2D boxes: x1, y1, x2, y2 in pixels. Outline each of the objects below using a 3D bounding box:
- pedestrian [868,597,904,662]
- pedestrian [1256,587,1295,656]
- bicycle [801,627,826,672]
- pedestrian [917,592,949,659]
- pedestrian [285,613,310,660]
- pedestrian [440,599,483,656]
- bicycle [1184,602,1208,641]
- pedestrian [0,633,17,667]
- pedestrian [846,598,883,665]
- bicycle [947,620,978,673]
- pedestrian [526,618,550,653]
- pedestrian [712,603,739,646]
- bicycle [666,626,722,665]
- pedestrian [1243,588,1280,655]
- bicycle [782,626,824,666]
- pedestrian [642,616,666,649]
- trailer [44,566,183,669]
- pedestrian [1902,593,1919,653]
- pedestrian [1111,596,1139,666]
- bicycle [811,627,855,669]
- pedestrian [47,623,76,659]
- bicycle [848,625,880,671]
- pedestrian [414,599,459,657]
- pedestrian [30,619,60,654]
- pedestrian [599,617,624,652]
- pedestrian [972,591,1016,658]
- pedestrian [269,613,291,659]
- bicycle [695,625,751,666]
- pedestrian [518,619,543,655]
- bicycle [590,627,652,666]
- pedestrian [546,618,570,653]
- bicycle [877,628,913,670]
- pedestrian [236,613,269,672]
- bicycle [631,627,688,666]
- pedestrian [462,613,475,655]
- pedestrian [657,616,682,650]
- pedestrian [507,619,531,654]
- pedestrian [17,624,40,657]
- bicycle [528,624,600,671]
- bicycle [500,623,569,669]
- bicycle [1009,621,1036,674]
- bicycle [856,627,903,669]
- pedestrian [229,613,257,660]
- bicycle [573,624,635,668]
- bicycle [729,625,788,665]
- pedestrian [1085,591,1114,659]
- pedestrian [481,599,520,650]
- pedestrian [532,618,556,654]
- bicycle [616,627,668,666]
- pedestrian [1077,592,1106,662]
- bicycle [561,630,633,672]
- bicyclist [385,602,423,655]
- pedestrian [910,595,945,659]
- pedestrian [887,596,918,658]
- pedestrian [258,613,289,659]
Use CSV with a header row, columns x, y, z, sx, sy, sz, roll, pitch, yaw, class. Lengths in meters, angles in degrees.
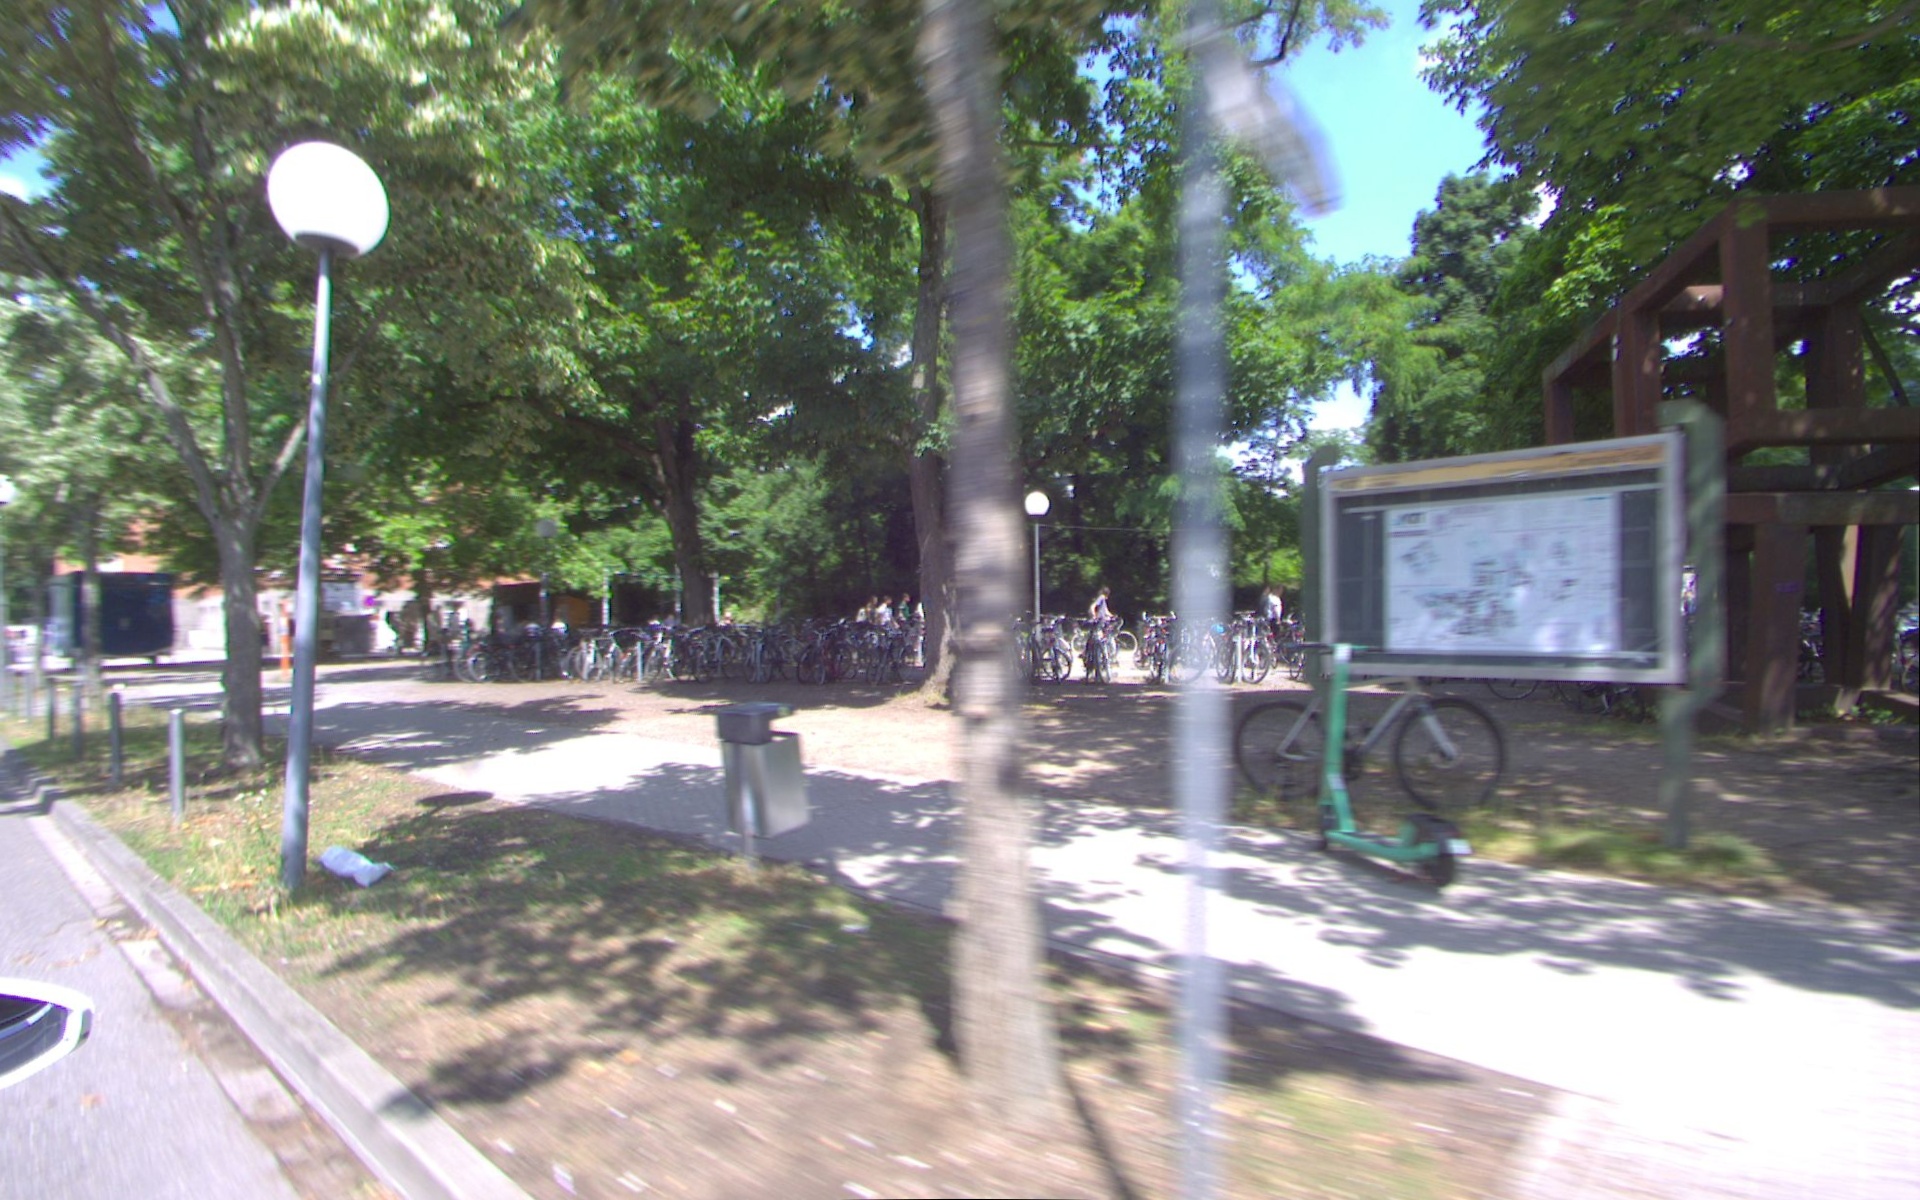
x,y,z,sx,sy,sz,roll,pitch,yaw,class
-2.066,0.812,28.149,0.711,1.798,0.740,0,0,35,pedestrian
8.321,0.567,26.408,0.707,1.798,0.744,0,0,-9,pedestrian
-3.405,1.136,23.387,0.469,0.992,1.903,-1,0,-6,bicycle
-0.732,0.682,27.081,0.707,1.798,0.744,0,0,12,pedestrian
-26.693,1.459,40.355,0.719,1.821,0.592,1,3,39,pedestrian
-17.706,0.959,35.560,1.060,1.975,0.832,-1,1,22,pedestrian
6.949,0.637,29.545,0.469,1.108,1.611,-1,0,5,bicycle
-49.271,2.564,51.490,0.951,1.716,0.699,5,-2,-37,pedestrian
-2.608,0.851,27.338,0.711,1.798,0.740,0,0,35,pedestrian
0.068,1.022,22.443,0.469,1.097,1.903,-1,0,7,bicycle
-17.088,1.430,40.510,0.720,1.365,0.567,0,3,38,pedestrian
-9.007,0.924,38.507,0.710,1.603,0.663,0,3,38,pedestrian
-7.153,1.215,27.015,0.414,0.992,1.899,-1,0,21,bicycle
8.215,0.587,27.300,0.707,1.798,0.744,0,0,-9,pedestrian
-4.112,1.188,26.318,0.526,0.992,1.903,-1,0,9,bicycle
-12.351,1.316,40.443,0.614,1.288,0.663,0,3,38,pedestrian
-28.108,0.593,33.163,6.188,3.092,2.678,-2,0,42,trailer
25.684,0.618,26.687,0.713,1.590,0.738,0,0,-39,pedestrian
4.308,0.800,26.102,0.707,1.798,0.744,0,0,11,pedestrian
-3.201,1.203,25.430,0.469,0.992,1.902,-1,0,12,bicycle
-43.442,1.979,48.413,0.938,1.661,0.870,1,4,43,pedestrian
-2.228,1.099,23.401,0.469,0.992,1.904,-1,0,2,bicycle
-18.081,0.966,34.600,1.060,1.975,0.832,-1,1,22,pedestrian
-49.459,1.971,54.144,0.738,1.814,0.709,-1,6,7,pedestrian
-14.211,1.399,40.810,0.710,1.365,0.663,0,3,38,pedestrian
0.948,0.667,27.551,0.955,1.798,0.961,0,0,21,pedestrian
-27.007,1.422,39.762,0.402,1.821,0.592,1,2,39,pedestrian
-6.239,1.187,26.491,0.470,0.992,1.900,-1,0,19,bicycle
-16.901,1.453,39.383,0.720,1.365,0.567,0,3,38,pedestrian
-9.413,1.277,27.883,0.470,0.992,1.898,-1,0,23,bicycle
-16.187,1.409,40.289,0.720,1.365,0.567,0,3,38,pedestrian
-1.640,1.217,25.417,0.300,0.992,1.883,-1,0,15,bicycle
-19.787,1.185,27.996,0.917,1.592,0.565,-2,-1,43,pedestrian
-8.208,1.252,27.431,0.470,0.992,1.901,-1,0,18,bicycle
-22.687,1.568,46.187,0.443,1.907,0.525,1,-1,-37,pedestrian
-11.597,1.313,39.981,0.614,1.288,0.663,0,3,38,pedestrian
-17.577,1.454,39.894,0.720,1.365,0.567,0,3,38,pedestrian
-49.693,2.154,53.415,0.560,1.655,0.502,-1,6,7,pedestrian
-10.274,1.215,26.031,0.602,1.133,1.899,-1,0,21,bicycle
-11.227,1.198,26.483,0.602,1.133,1.805,-1,0,21,bicycle
1.397,1.031,22.257,0.469,1.097,1.903,-1,0,7,bicycle
-2.033,1.209,25.520,0.434,0.992,1.900,-1,0,19,bicycle
-26.093,1.311,36.448,0.780,1.683,0.693,-1,0,43,pedestrian
-10.100,1.293,28.475,0.470,1.158,1.898,-1,0,23,bicycle
-5.269,1.165,26.335,0.602,0.992,1.899,-1,0,21,bicycle
3.763,0.675,27.007,0.707,1.798,0.745,0,0,3,pedestrian
-16.531,0.867,36.048,0.907,1.798,0.955,0,0,35,pedestrian
-16.547,1.429,39.839,0.720,1.365,0.567,0,3,38,pedestrian
-8.787,1.263,27.718,0.414,0.992,1.902,-1,0,14,bicycle
3.431,0.702,26.173,0.707,1.798,0.745,0,0,3,pedestrian
-9.243,1.293,25.572,0.602,0.992,1.899,-1,0,21,bicycle
-18.693,0.947,33.643,1.060,1.752,0.530,-1,1,23,bicyclist
-0.947,0.765,28.792,0.711,1.798,0.740,0,0,35,pedestrian
-1.690,0.788,29.656,0.708,1.798,0.743,0,0,17,pedestrian
-25.396,1.318,37.056,0.815,1.683,0.761,-1,0,43,pedestrian
